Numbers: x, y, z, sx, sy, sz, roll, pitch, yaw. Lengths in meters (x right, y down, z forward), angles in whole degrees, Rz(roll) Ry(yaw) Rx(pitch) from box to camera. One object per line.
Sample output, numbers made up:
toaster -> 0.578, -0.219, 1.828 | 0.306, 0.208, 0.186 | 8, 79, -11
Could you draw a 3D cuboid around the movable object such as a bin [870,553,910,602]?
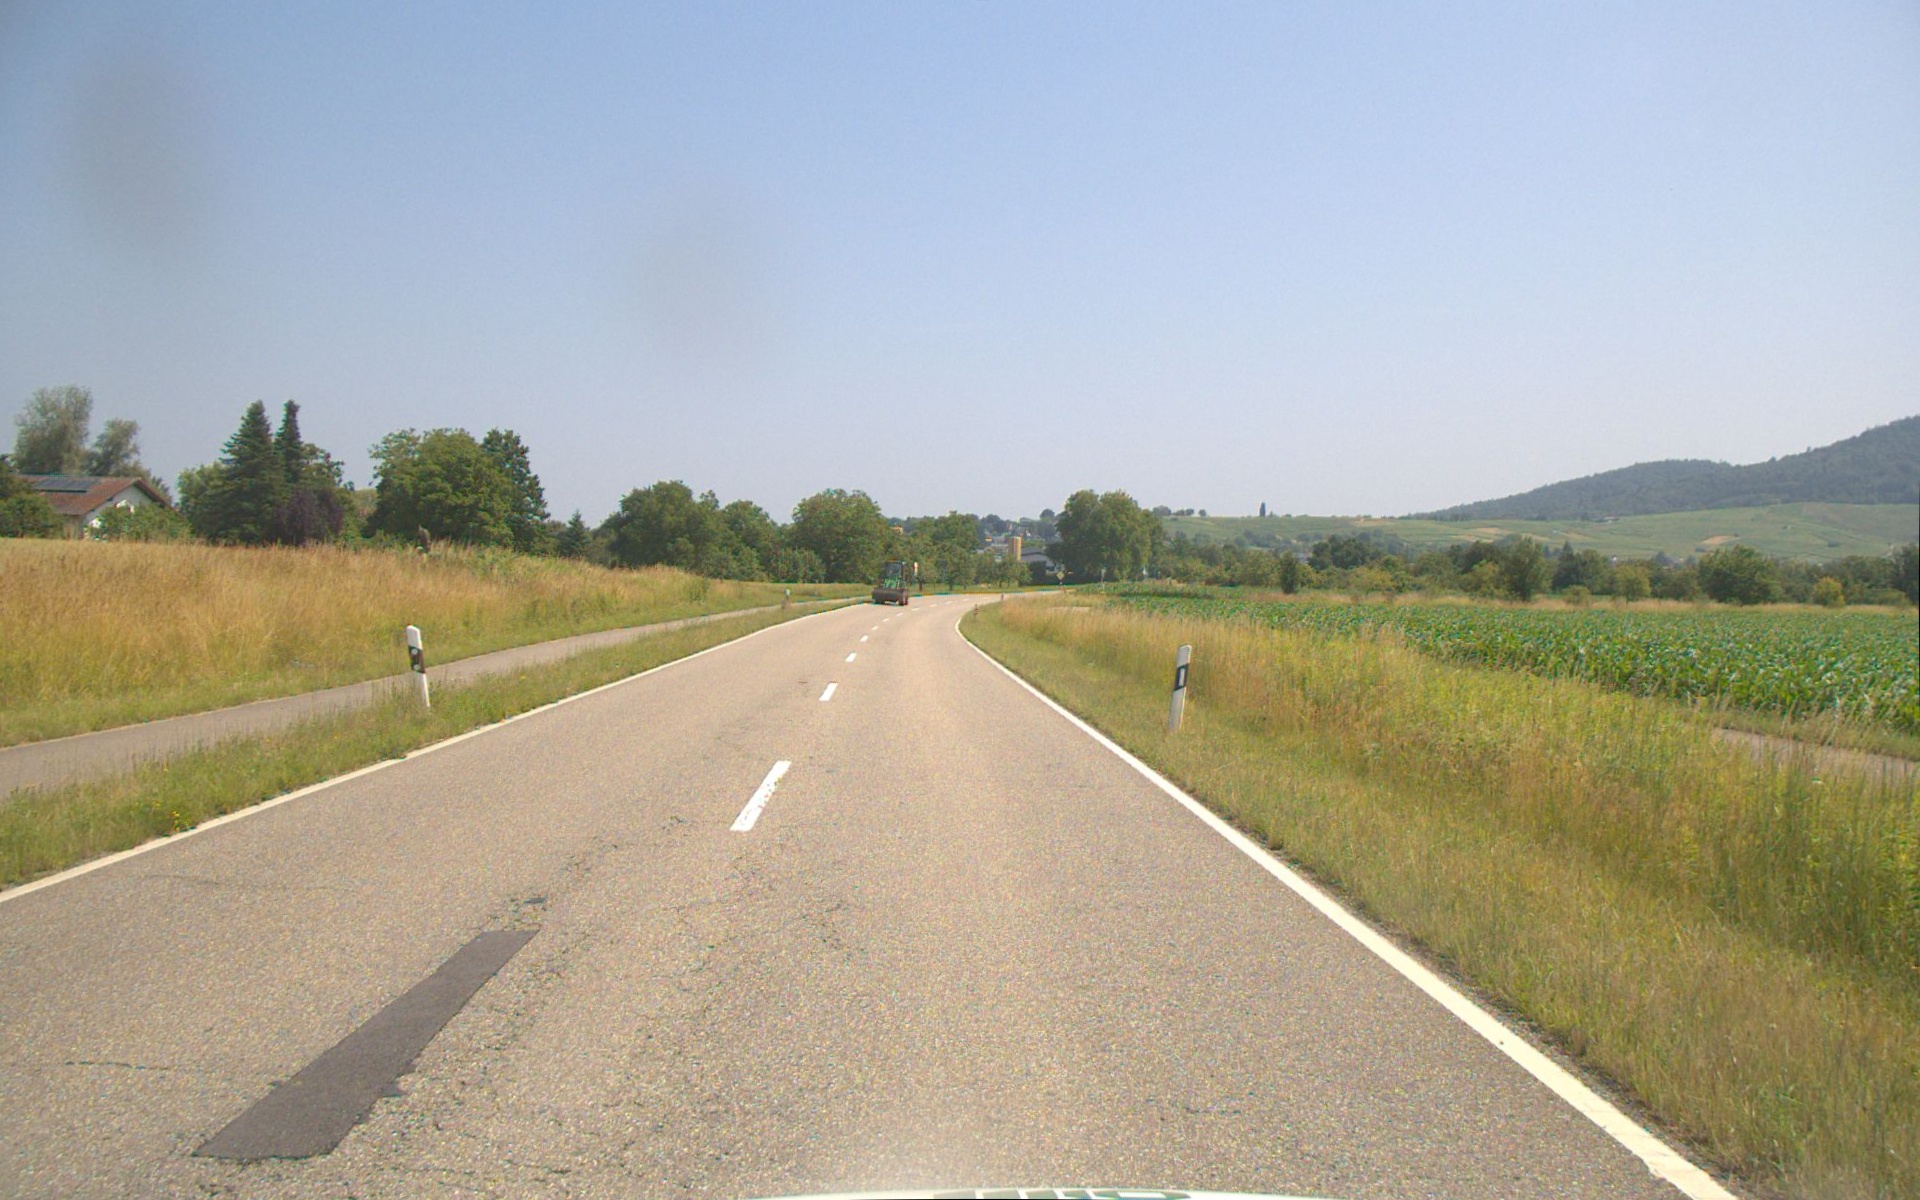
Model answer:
movable object such as a bin -> -4.267, -1.384, 101.741 | 1.960, 2.802, 5.231 | 4, 1, 1
